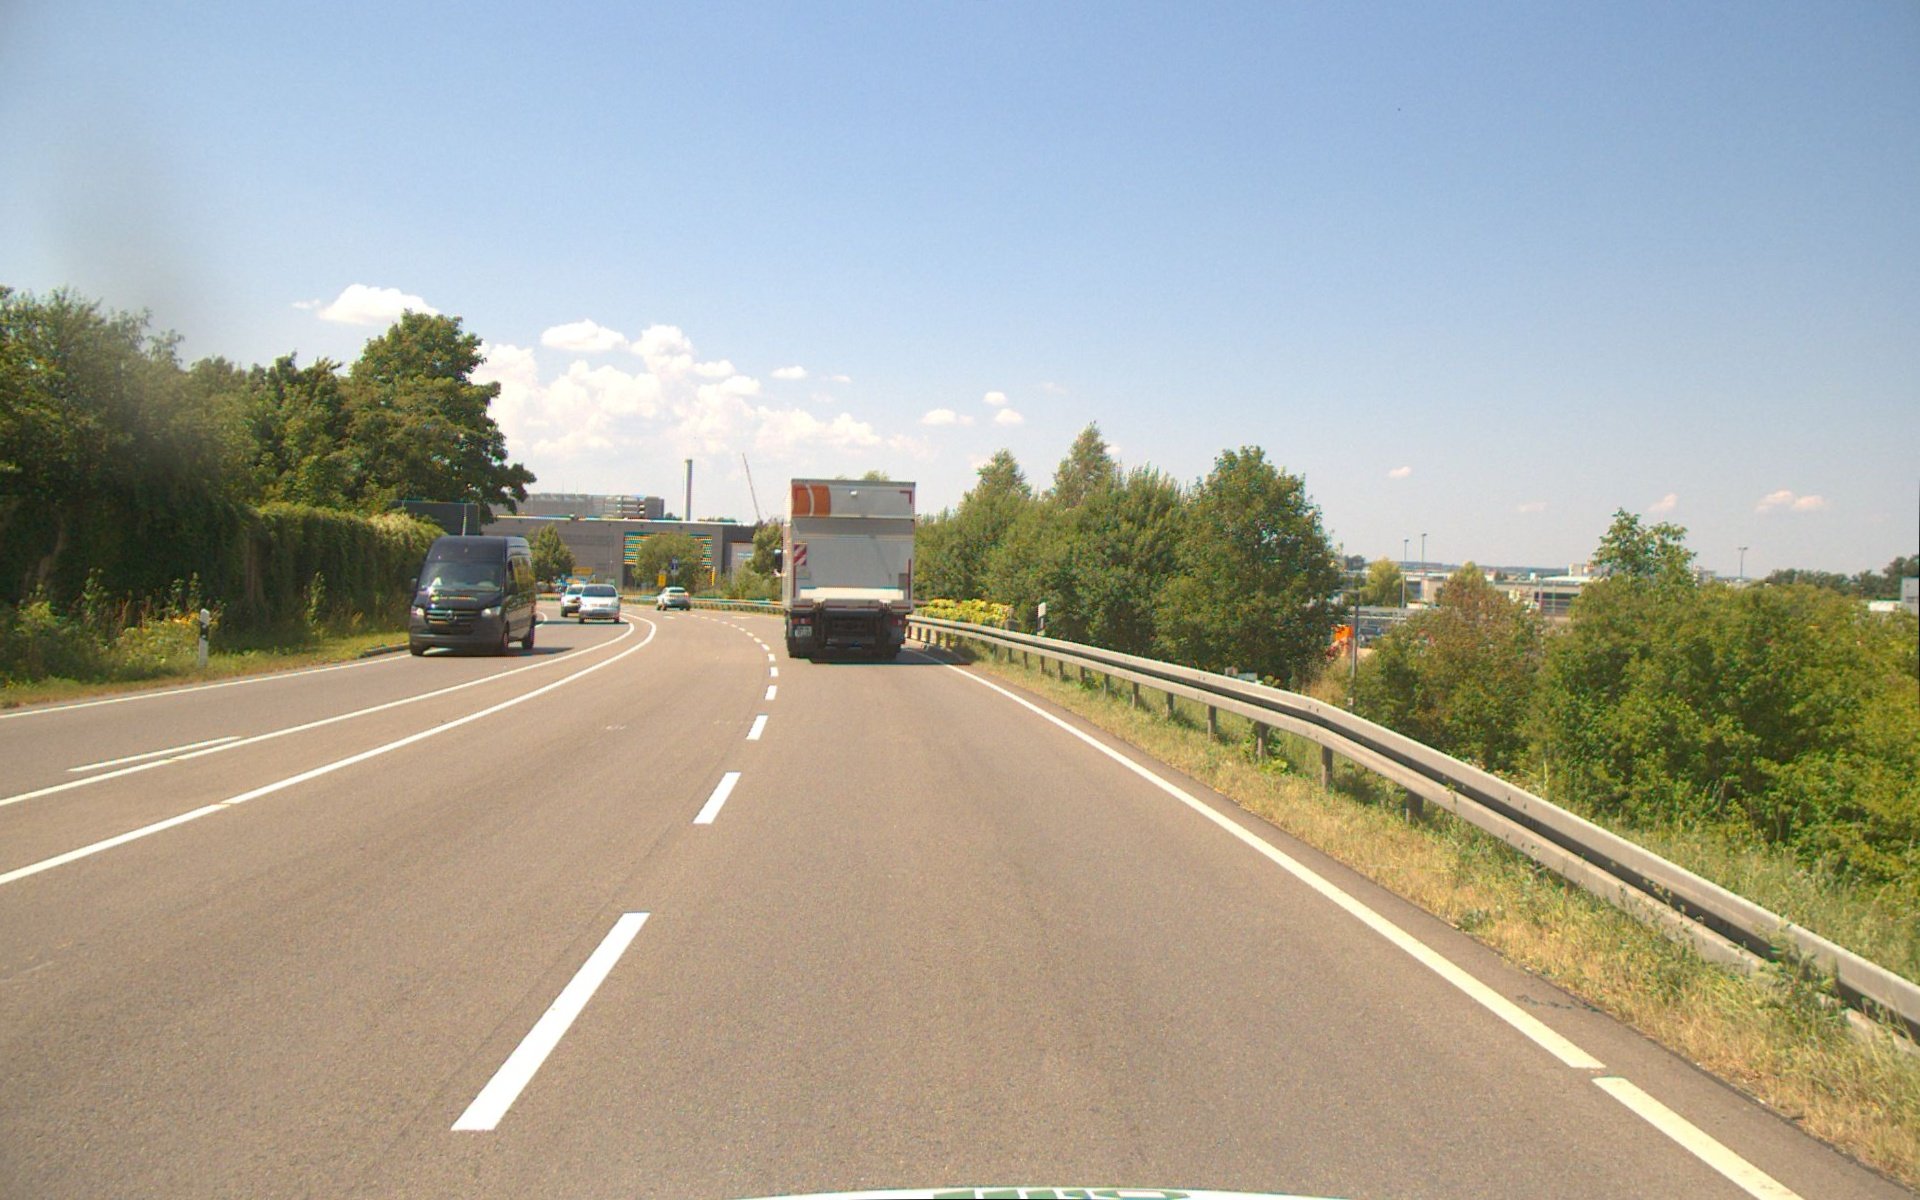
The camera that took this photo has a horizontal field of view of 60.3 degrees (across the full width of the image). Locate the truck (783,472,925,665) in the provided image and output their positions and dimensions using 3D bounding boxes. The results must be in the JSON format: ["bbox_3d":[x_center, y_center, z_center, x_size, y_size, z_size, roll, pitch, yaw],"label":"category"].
[{"bbox_3d":[-2.530,-0.682,37.193,2.749,3.775,9.097,1,1,-6],"label":"truck"}]

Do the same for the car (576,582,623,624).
[{"bbox_3d":[-15.042,0.105,68.894,1.805,1.620,4.801,2,0,-13],"label":"car"}]

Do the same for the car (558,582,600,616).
[{"bbox_3d":[-19.145,-0.085,83.097,1.959,1.657,4.182,0,0,-13],"label":"car"}]

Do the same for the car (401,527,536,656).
[{"bbox_3d":[-10.870,-0.190,37.024,2.148,2.586,6.022,1,0,-10],"label":"car"}]

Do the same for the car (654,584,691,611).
[{"bbox_3d":[-18.976,-0.169,109.086,1.913,1.693,3.981,3,-1,-17],"label":"car"}]
